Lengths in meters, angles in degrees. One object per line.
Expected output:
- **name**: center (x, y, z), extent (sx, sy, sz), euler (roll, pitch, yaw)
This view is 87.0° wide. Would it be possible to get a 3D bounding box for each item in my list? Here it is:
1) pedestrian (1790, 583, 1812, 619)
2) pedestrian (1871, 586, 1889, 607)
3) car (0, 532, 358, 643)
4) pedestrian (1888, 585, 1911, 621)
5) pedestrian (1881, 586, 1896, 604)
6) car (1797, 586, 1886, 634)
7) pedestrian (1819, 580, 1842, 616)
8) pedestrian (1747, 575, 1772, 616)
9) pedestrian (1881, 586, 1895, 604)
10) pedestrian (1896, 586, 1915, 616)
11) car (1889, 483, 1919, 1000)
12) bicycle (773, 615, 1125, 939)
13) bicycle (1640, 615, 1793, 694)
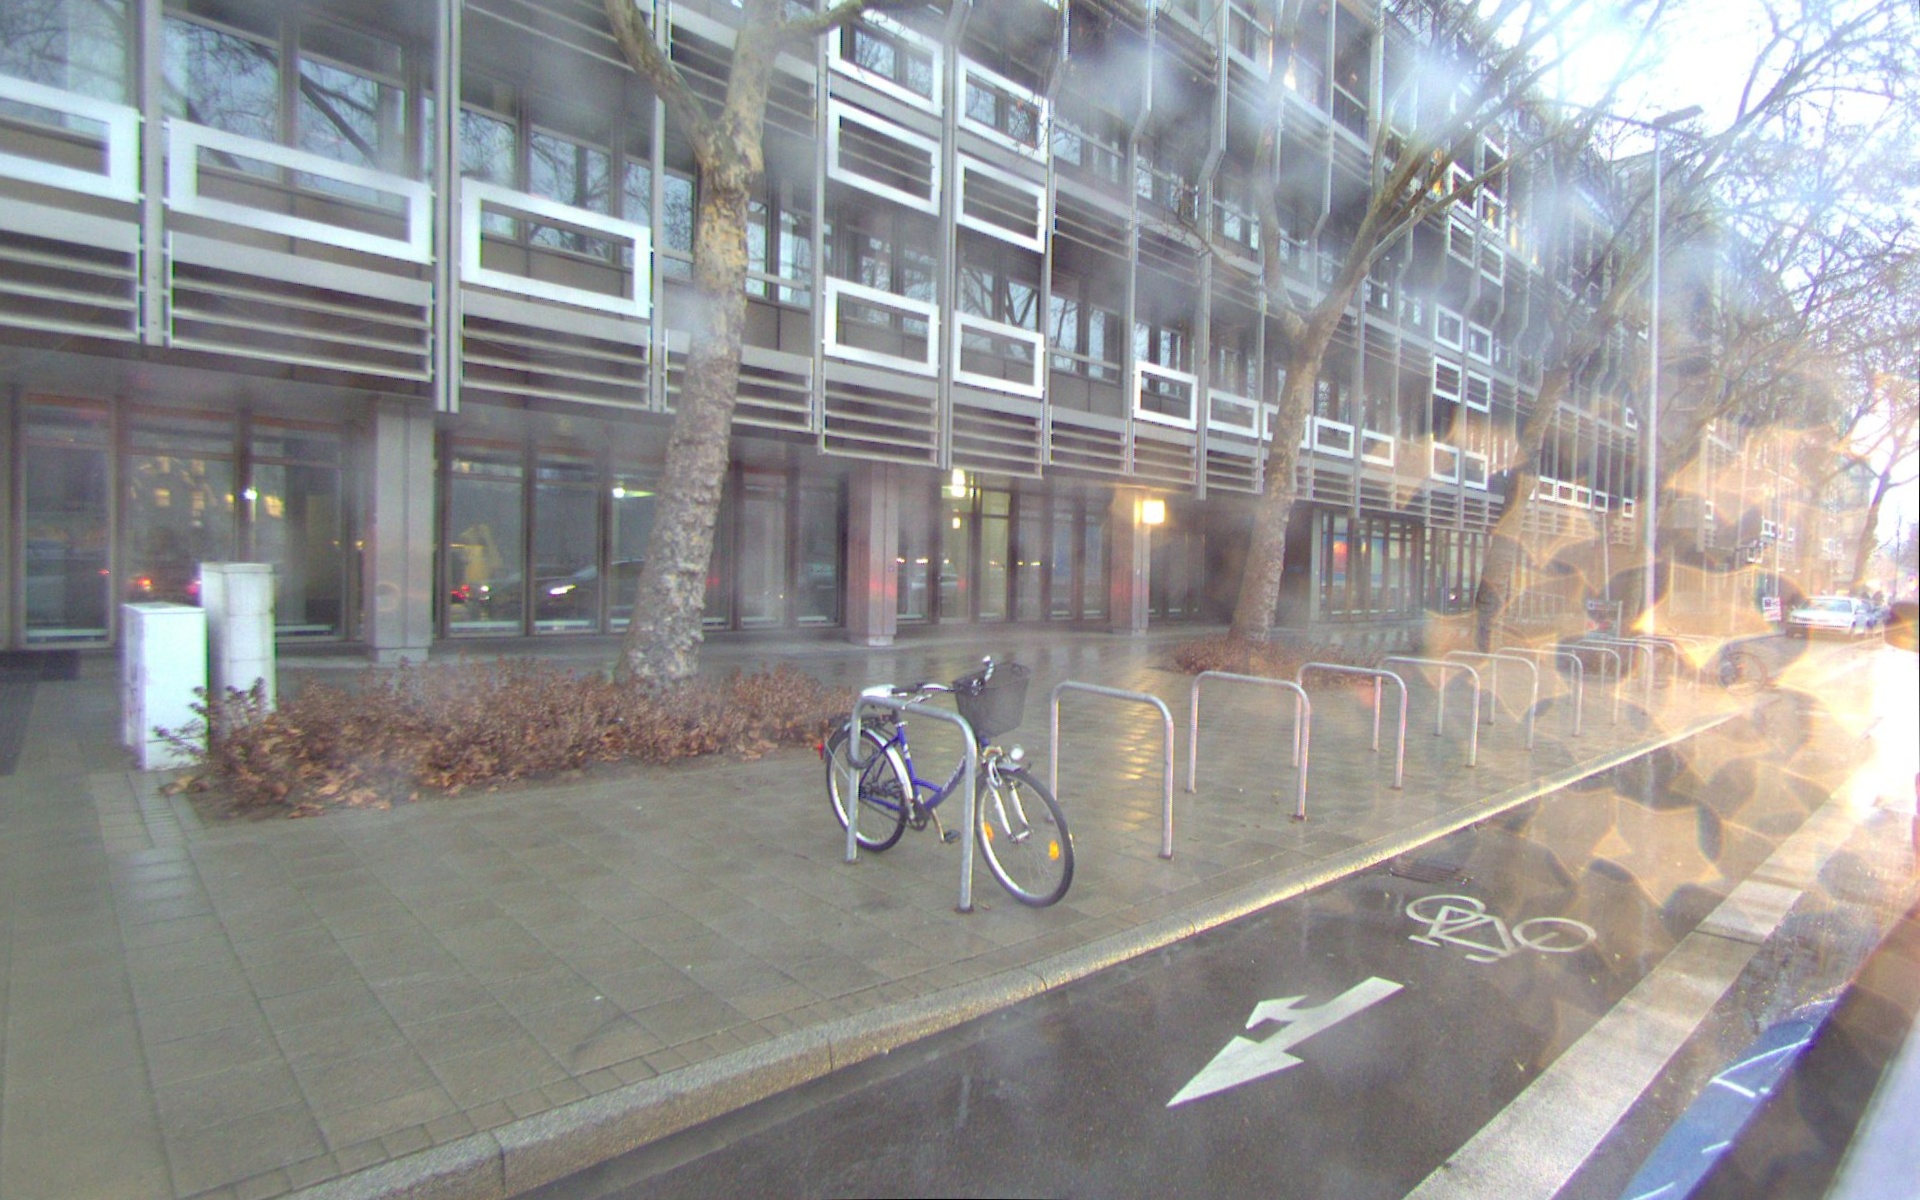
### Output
- **pedestrian**: center (42.416, 0.032, 51.042), extent (0.765, 1.771, 0.913), euler (2, 2, 45)
- **pedestrian**: center (61.018, -0.242, 67.143), extent (0.738, 1.354, 0.781), euler (0, 0, -41)
- **car**: center (-10.744, -0.213, 13.993), extent (3.929, 1.326, 1.998), euler (0, 3, -40)
- **pedestrian**: center (47.183, 0.142, 50.814), extent (0.765, 1.771, 0.913), euler (2, 2, 45)
- **pedestrian**: center (69.750, -0.374, 76.029), extent (0.777, 1.354, 0.718), euler (0, 0, -41)
- **car**: center (29.387, 0.289, 33.697), extent (3.930, 1.482, 1.711), euler (-1, 1, -41)
- **pedestrian**: center (44.026, -0.125, 51.175), extent (0.765, 1.771, 0.913), euler (2, 2, 45)
- **pedestrian**: center (43.734, -0.270, 55.388), extent (1.056, 2.222, 1.096), euler (0, 0, 38)
- **pedestrian**: center (70.944, -0.389, 77.379), extent (0.777, 1.354, 0.718), euler (0, 0, -41)
- **pedestrian**: center (57.538, 0.073, 61.589), extent (0.765, 1.771, 0.913), euler (2, 2, 45)
- **car**: center (5.472, 0.492, 4.350), extent (3.933, 1.864, 1.875), euler (-1, 0, -43)
- **bicycle**: center (-0.139, 0.714, 4.872), extent (0.629, 1.145, 1.810), euler (2, 2, -41)
- **bicycle**: center (11.636, 0.807, 15.597), extent (0.864, 1.004, 1.704), euler (0, 4, -41)
